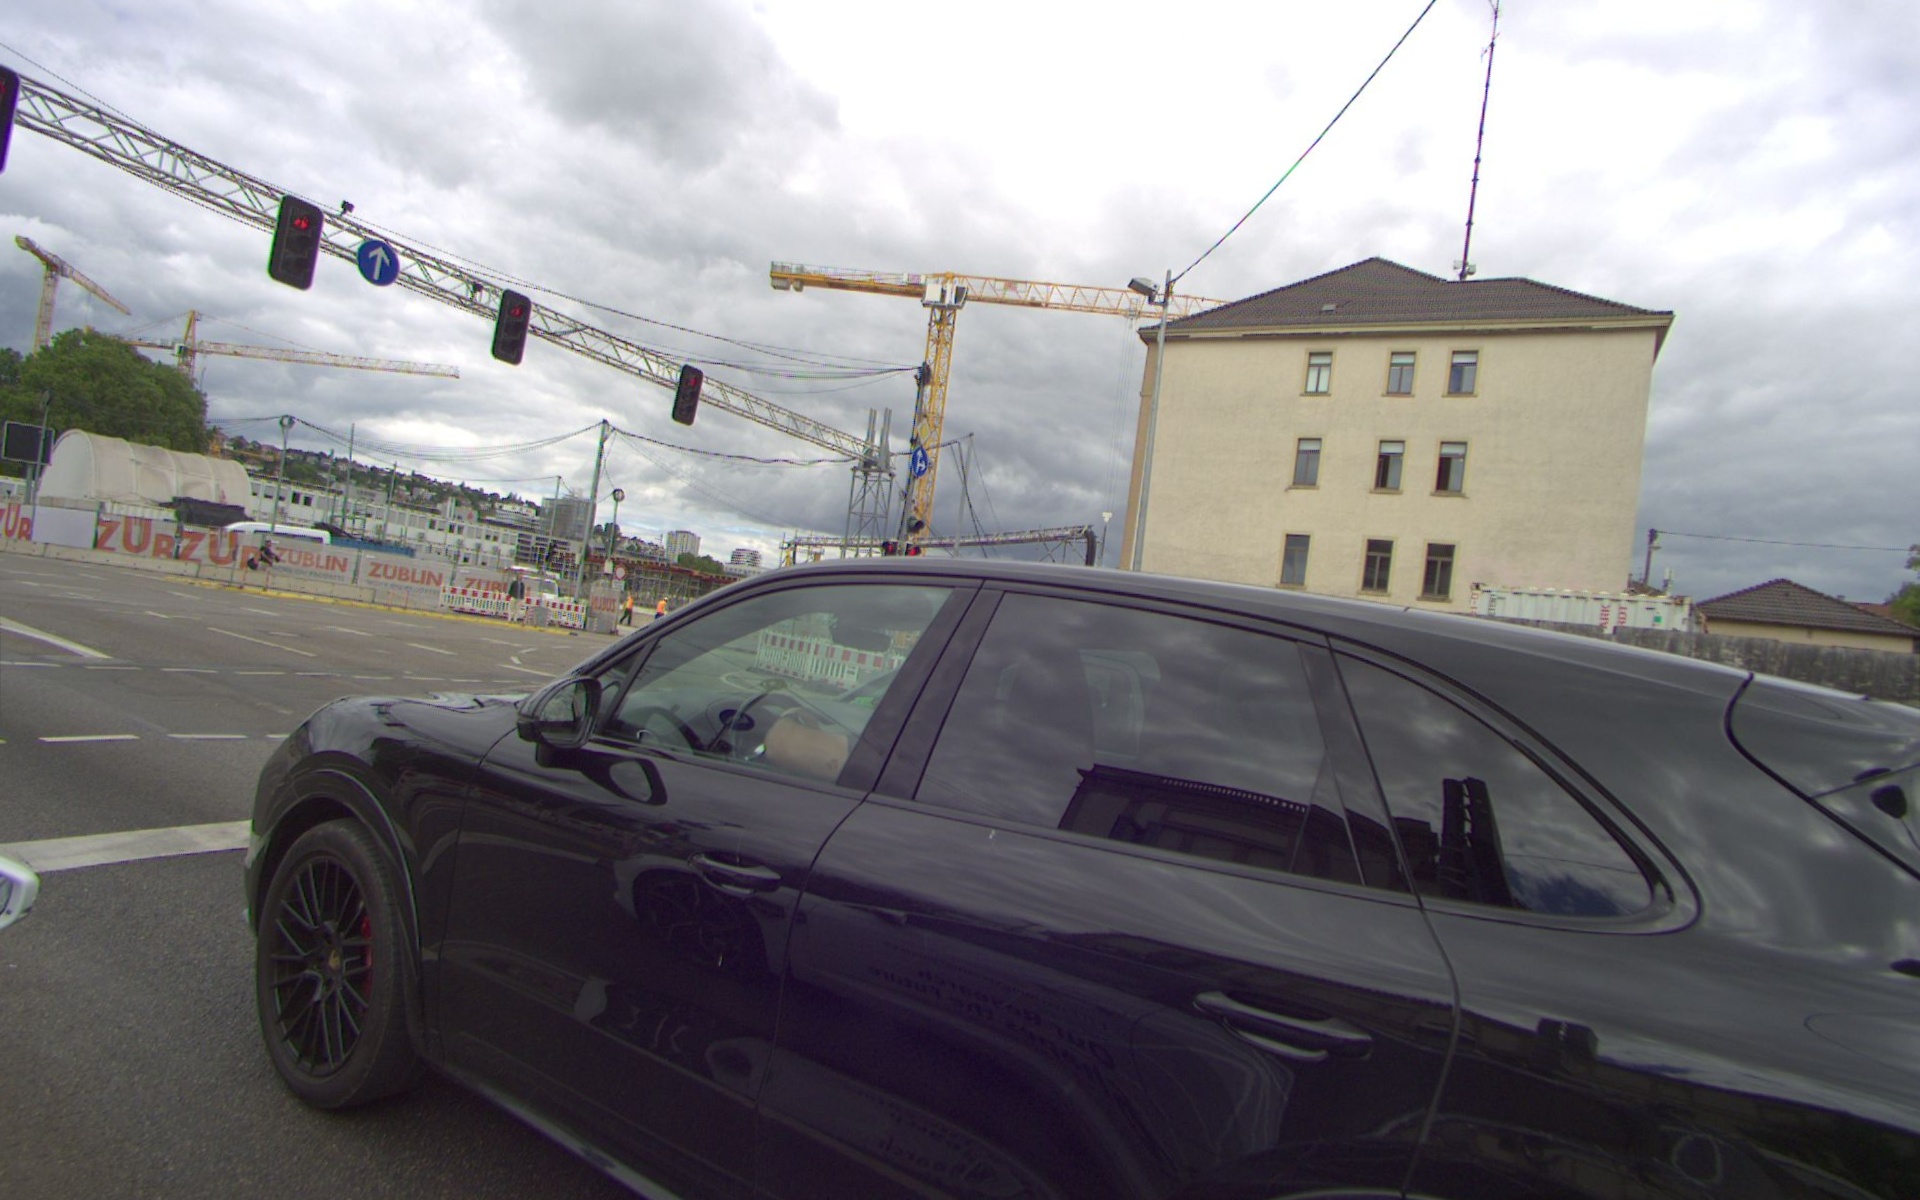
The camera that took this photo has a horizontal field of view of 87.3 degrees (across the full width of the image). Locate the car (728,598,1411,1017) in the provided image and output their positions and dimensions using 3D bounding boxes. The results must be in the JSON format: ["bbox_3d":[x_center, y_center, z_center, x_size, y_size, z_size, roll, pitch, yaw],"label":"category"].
[{"bbox_3d":[0.585,1.046,6.375,3.818,1.561,1.667,7,-2,33],"label":"car"}]

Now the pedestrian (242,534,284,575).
[{"bbox_3d":[-26.710,-1.734,38.540,0.889,1.393,0.799,8,-1,-7],"label":"pedestrian"}]

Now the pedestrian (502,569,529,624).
[{"bbox_3d":[-17.215,-0.133,38.984,0.647,2.037,0.513,8,-1,-33],"label":"pedestrian"}]

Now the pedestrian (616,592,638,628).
[{"bbox_3d":[-18.093,0.549,54.678,0.607,1.816,0.654,7,-1,21],"label":"pedestrian"}]

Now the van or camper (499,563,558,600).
[{"bbox_3d":[-42.438,-1.763,99.128,1.963,2.945,5.304,7,-2,20],"label":"van or camper"}]

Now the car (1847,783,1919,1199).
[{"bbox_3d":[5.634,1.753,2.658,4.579,1.589,1.825,6,-2,34],"label":"car"}]

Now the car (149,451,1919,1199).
[{"bbox_3d":[0.028,0.718,2.699,4.559,1.705,1.959,7,-2,33],"label":"car"}]

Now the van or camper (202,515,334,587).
[{"bbox_3d":[-29.815,-2.075,43.417,4.204,2.384,1.976,10,-3,-44],"label":"van or camper"}]

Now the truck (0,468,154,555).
[{"bbox_3d":[-57.902,-5.800,61.937,3.875,4.086,13.089,8,-2,12],"label":"truck"}]

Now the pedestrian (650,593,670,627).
[{"bbox_3d":[-16.017,0.533,53.784,0.508,1.737,0.654,7,-1,21],"label":"pedestrian"}]
